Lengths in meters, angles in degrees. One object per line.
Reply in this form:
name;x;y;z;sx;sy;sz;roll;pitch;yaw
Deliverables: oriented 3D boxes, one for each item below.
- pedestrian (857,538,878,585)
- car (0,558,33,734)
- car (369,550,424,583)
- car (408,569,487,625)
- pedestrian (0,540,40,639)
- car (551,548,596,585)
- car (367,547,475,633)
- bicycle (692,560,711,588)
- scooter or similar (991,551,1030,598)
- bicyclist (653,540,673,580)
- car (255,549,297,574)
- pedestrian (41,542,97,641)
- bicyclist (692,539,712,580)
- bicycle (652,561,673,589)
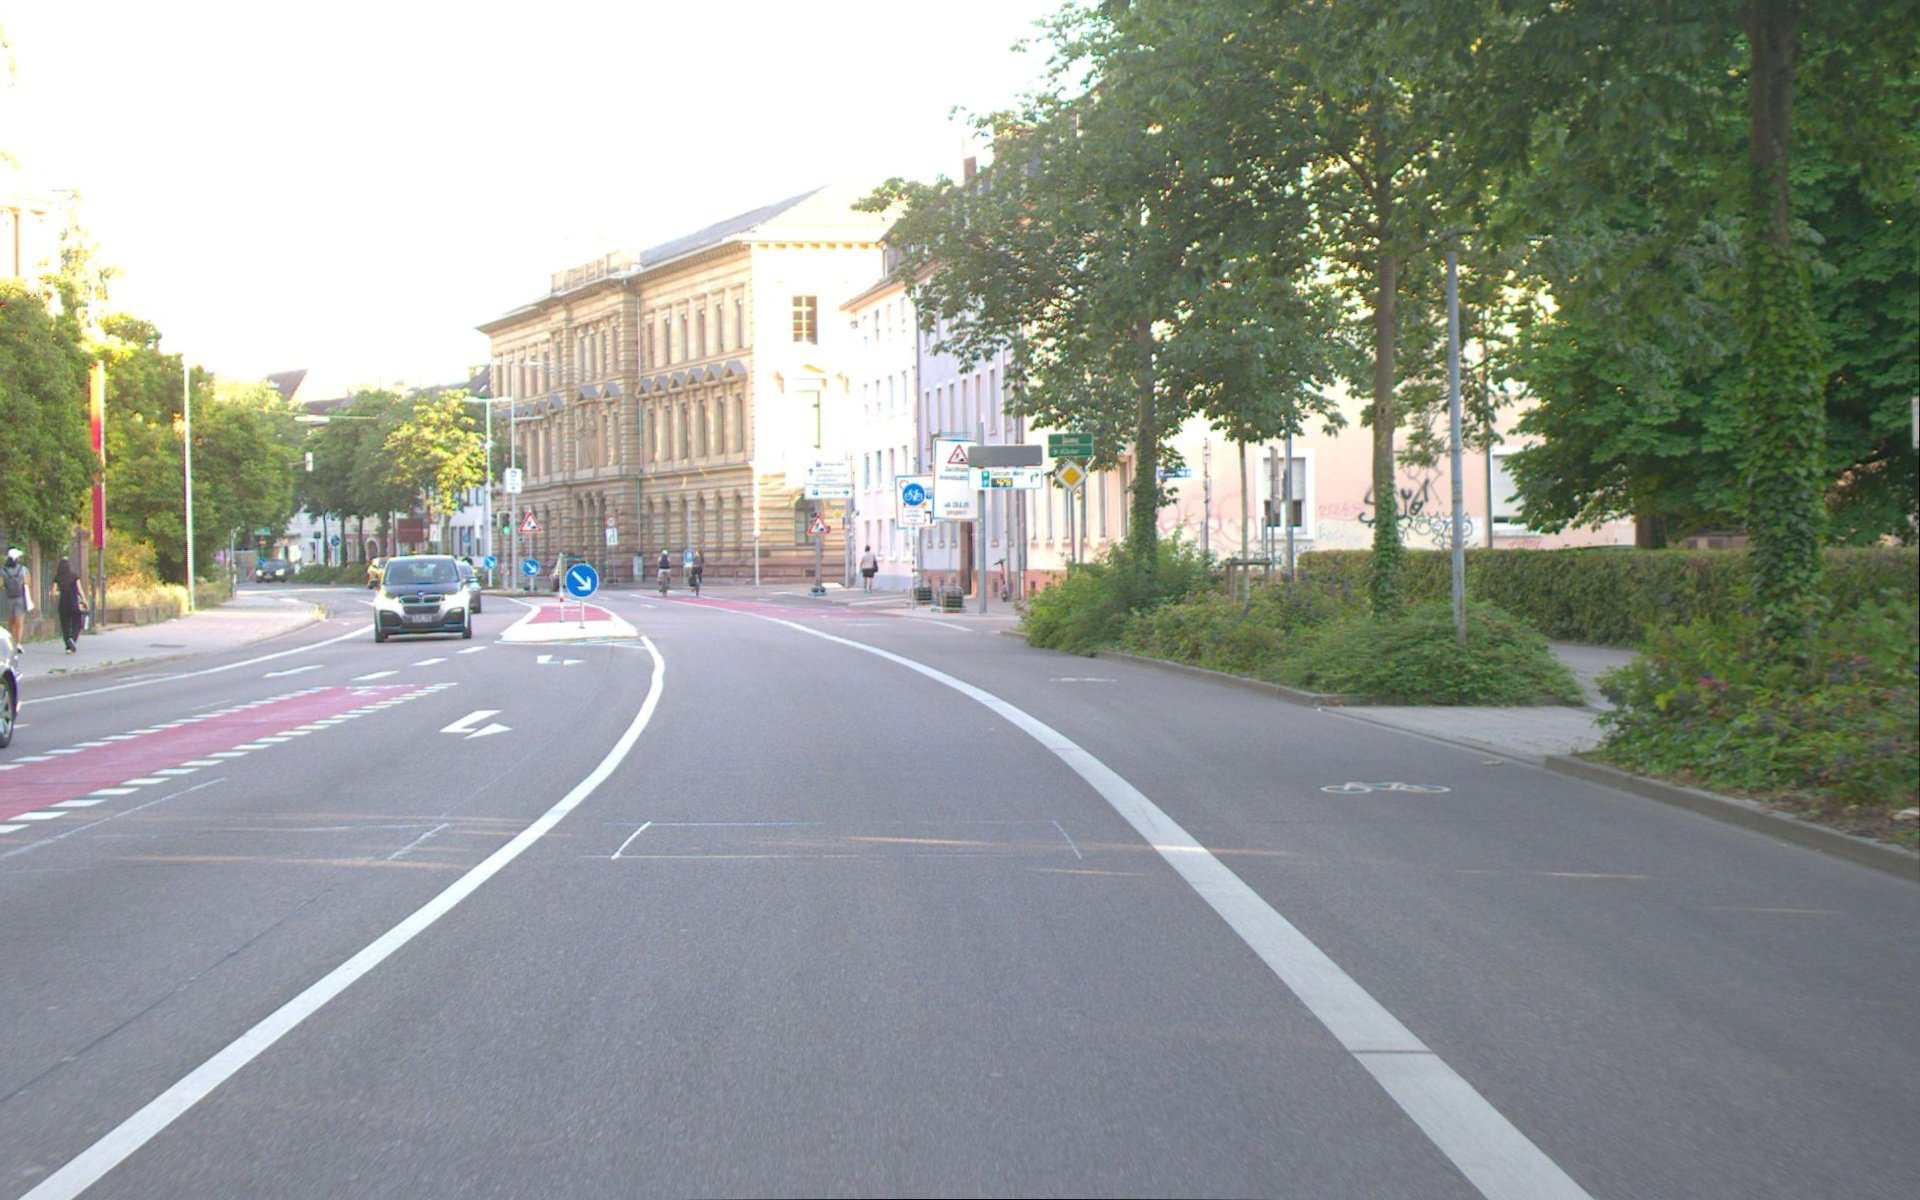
pedestrian;-3.436;-1.427;127.688;0.762;1.749;0.845;0;1;-1
car;-8.687;0.440;26.441;1.916;1.413;4.771;-2;1;-2
car;-27.312;-1.608;166.442;1.993;1.579;4.001;0;1;-19
car;-14.214;-0.100;95.204;1.835;1.434;4.001;-2;1;-13
pedestrian;-15.607;-0.174;56.649;0.681;1.617;0.688;-1;1;2
car;-16.309;-1.419;145.276;1.867;1.505;4.001;0;1;-6
car;-10.217;-0.213;64.958;1.848;1.521;4.001;-2;1;-11
bicycle;-9.581;-0.976;127.511;0.652;1.012;2.198;2;1;-5
scooter or similar;1.447;-0.740;99.655;0.629;1.332;2.401;0;1;-11
bicyclist;-11.009;-1.477;127.374;0.652;1.441;0.879;2;1;-7
car;-42.995;-2.409;216.136;1.993;1.579;4.001;0;1;-3
pedestrian;-14.704;-0.145;56.739;0.681;1.617;0.688;0;1;5
bicyclist;-9.570;-1.505;127.508;0.652;1.470;0.941;2;1;-5
bicycle;-11.033;-0.927;127.405;0.652;1.012;2.198;2;1;-7
